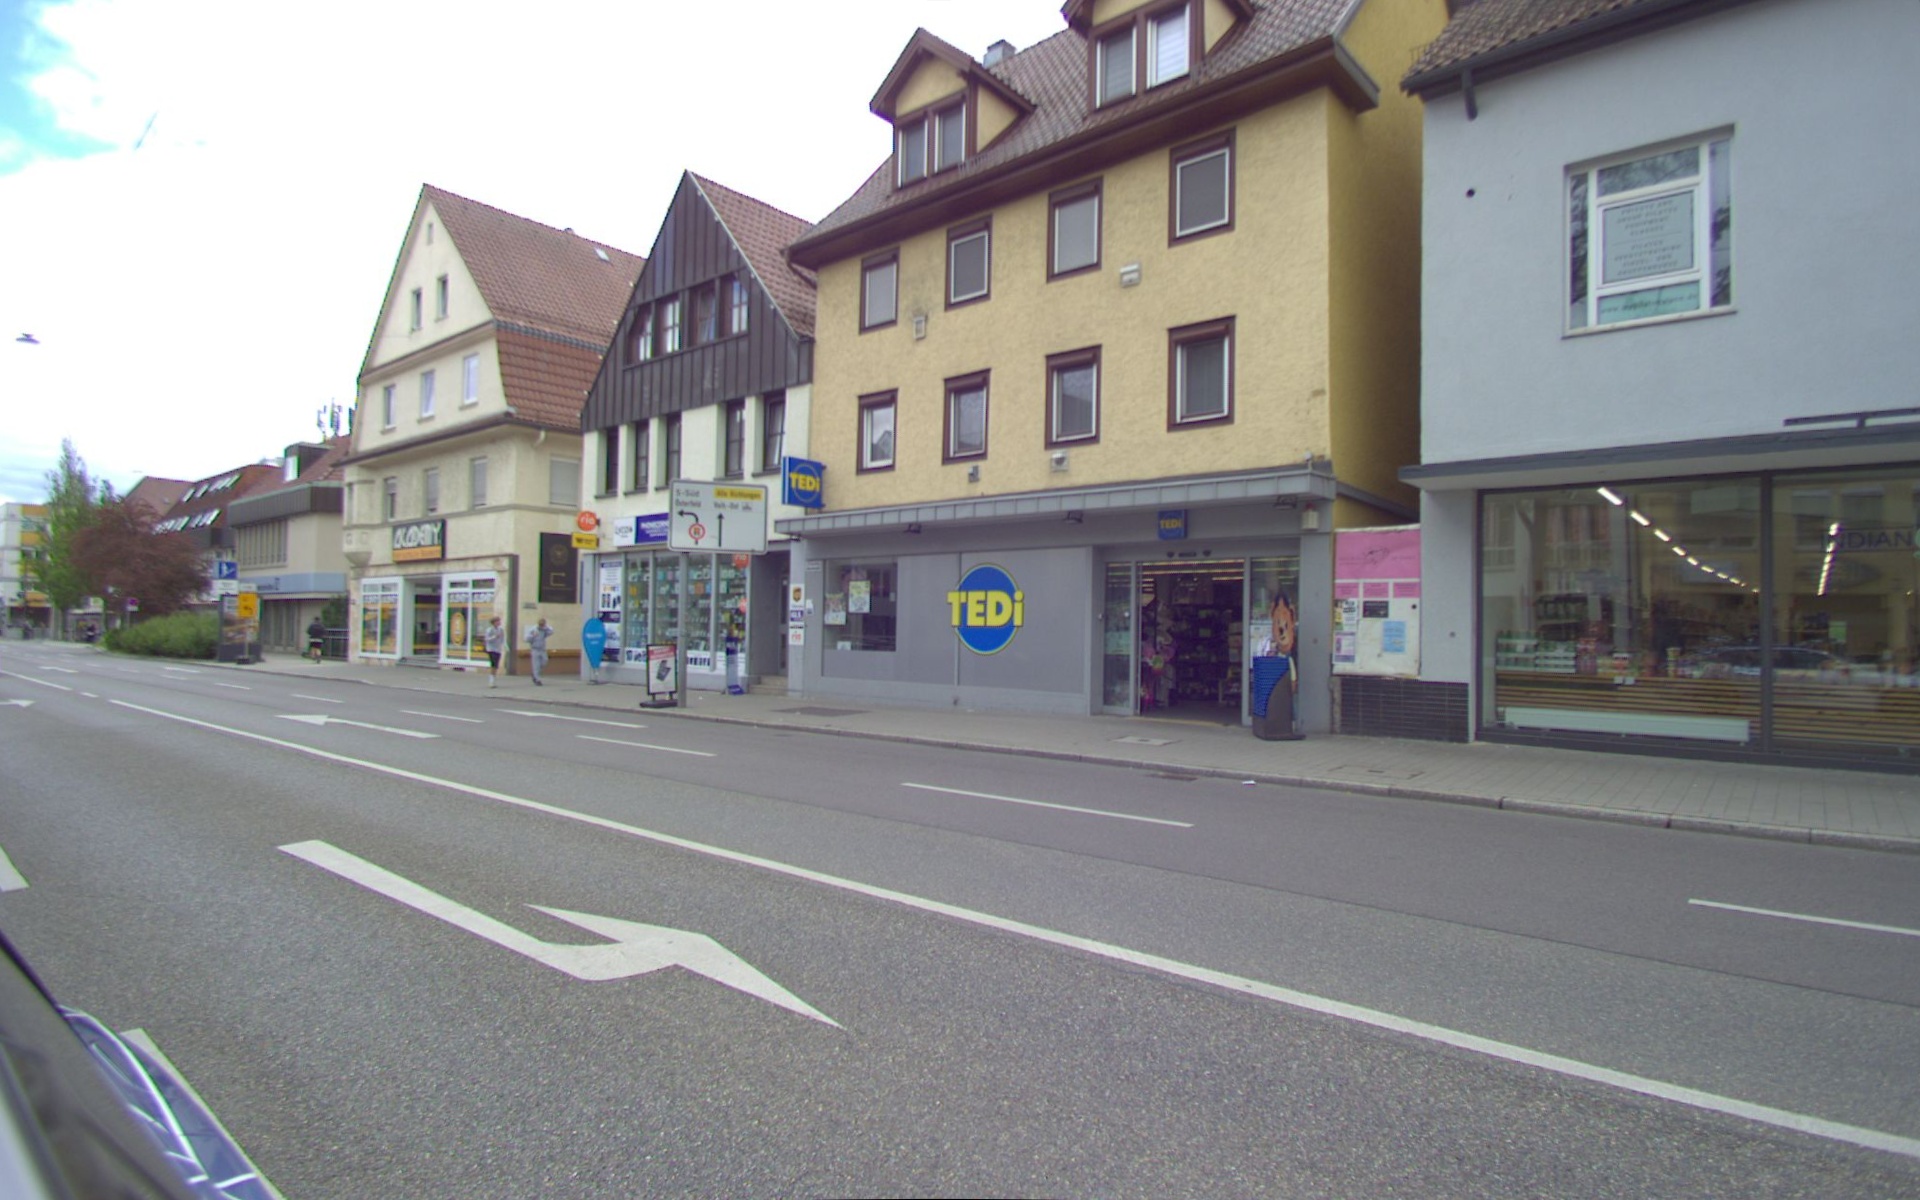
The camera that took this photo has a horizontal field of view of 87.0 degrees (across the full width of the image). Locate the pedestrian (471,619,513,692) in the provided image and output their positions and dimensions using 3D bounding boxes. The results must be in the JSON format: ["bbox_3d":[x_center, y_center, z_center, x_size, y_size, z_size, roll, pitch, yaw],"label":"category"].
[{"bbox_3d":[-11.216,1.323,24.240,0.742,1.703,0.680,-2,-2,41],"label":"pedestrian"}]

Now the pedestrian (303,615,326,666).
[{"bbox_3d":[-24.649,1.549,38.629,0.592,1.903,0.544,-1,-1,37],"label":"pedestrian"}]

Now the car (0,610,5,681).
[{"bbox_3d":[-27.220,1.229,27.331,4.632,1.869,1.726,-1,-1,42],"label":"car"}]

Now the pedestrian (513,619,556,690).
[{"bbox_3d":[-10.429,1.311,24.793,0.709,1.683,0.680,-2,0,41],"label":"pedestrian"}]
